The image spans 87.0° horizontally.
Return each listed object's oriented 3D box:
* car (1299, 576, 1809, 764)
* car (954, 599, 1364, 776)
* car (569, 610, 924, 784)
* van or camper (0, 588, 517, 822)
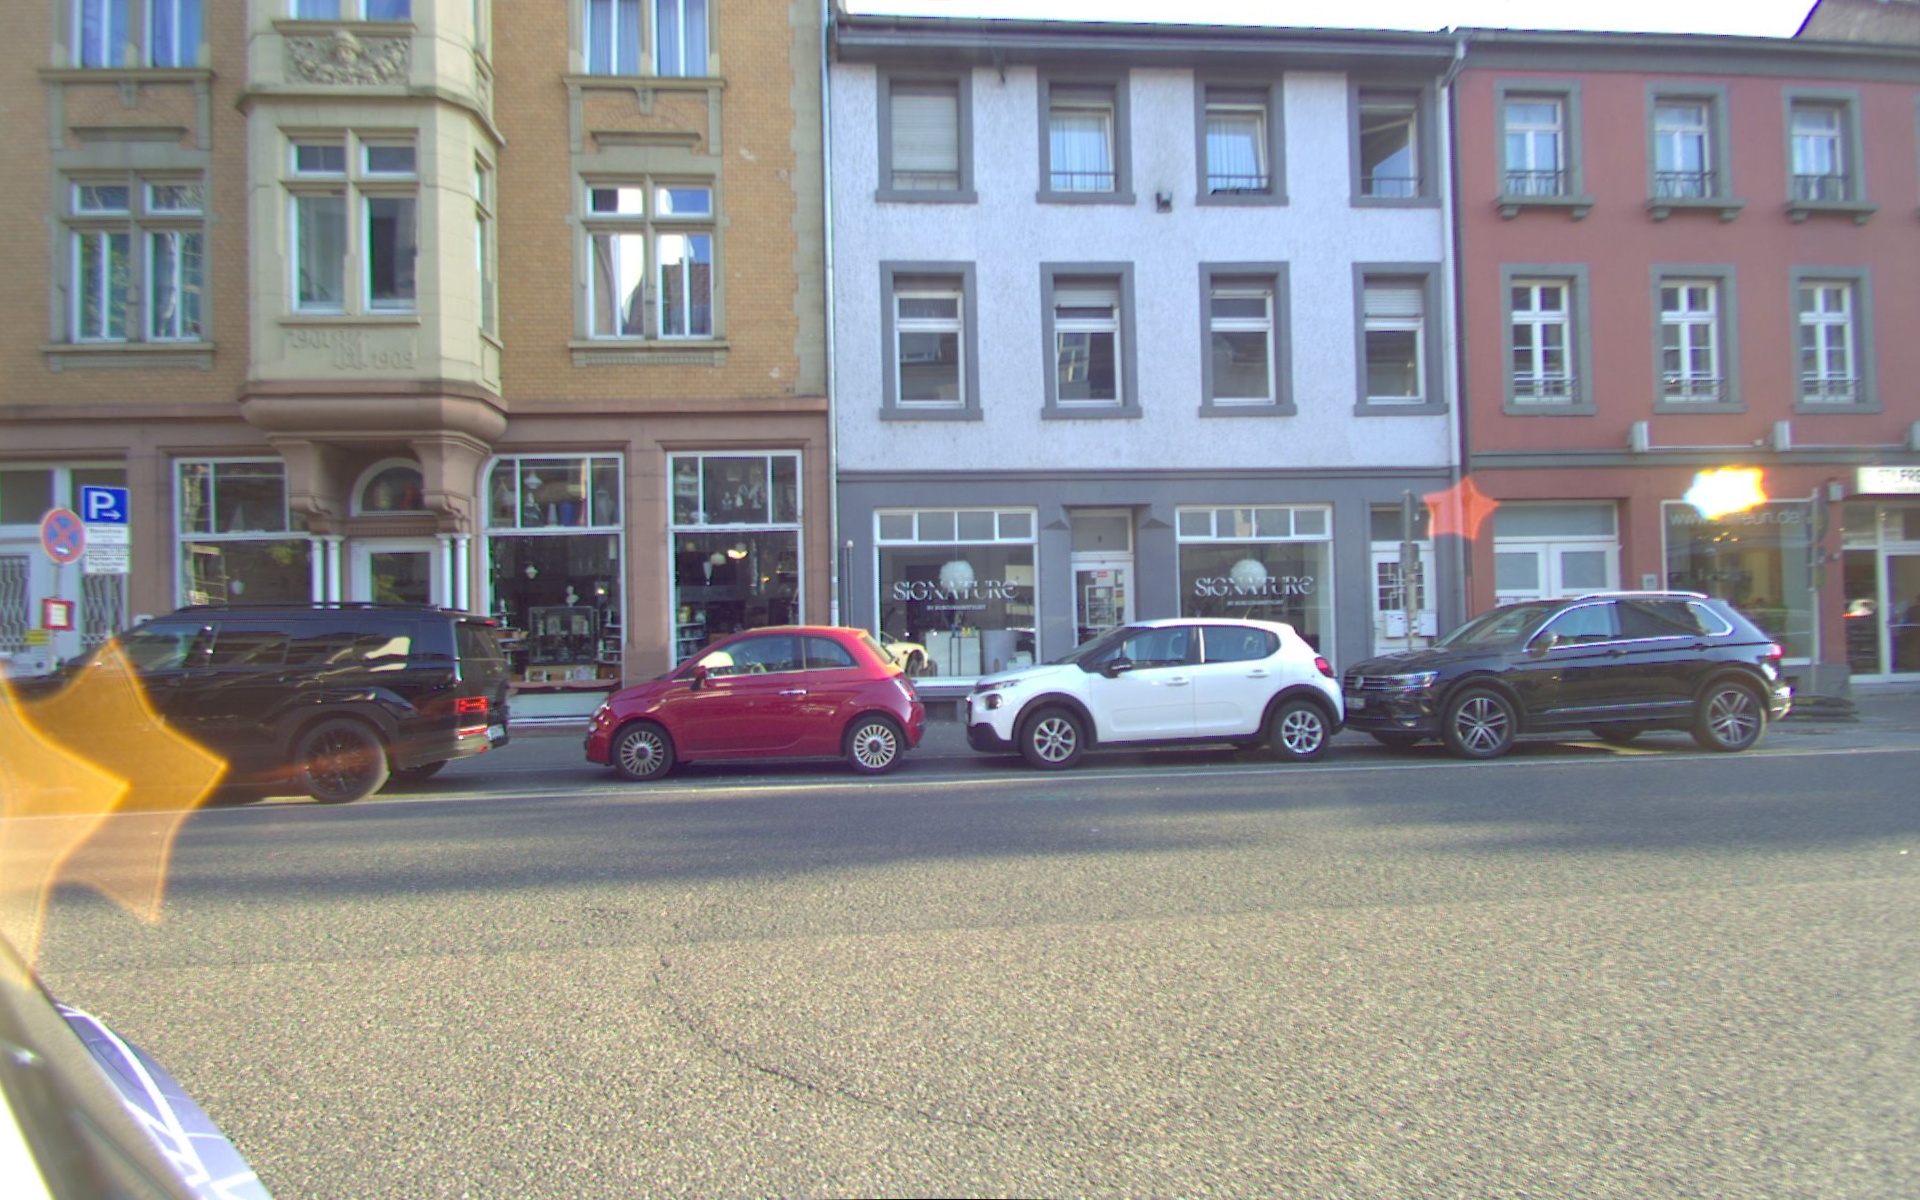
[{"bbox_3d":[6.206,0.725,10.888,4.391,1.711,1.802,-1,-4,-6],"label":"car"},{"bbox_3d":[1.957,0.889,10.711,3.875,1.585,1.668,-2,-3,-4],"label":"car"},{"bbox_3d":[-2.103,0.967,10.542,3.371,1.582,1.532,-1,-3,-3],"label":"car"},{"bbox_3d":[-6.656,0.894,9.340,4.388,1.821,1.900,-1,-3,-10],"label":"van or camper"}]
